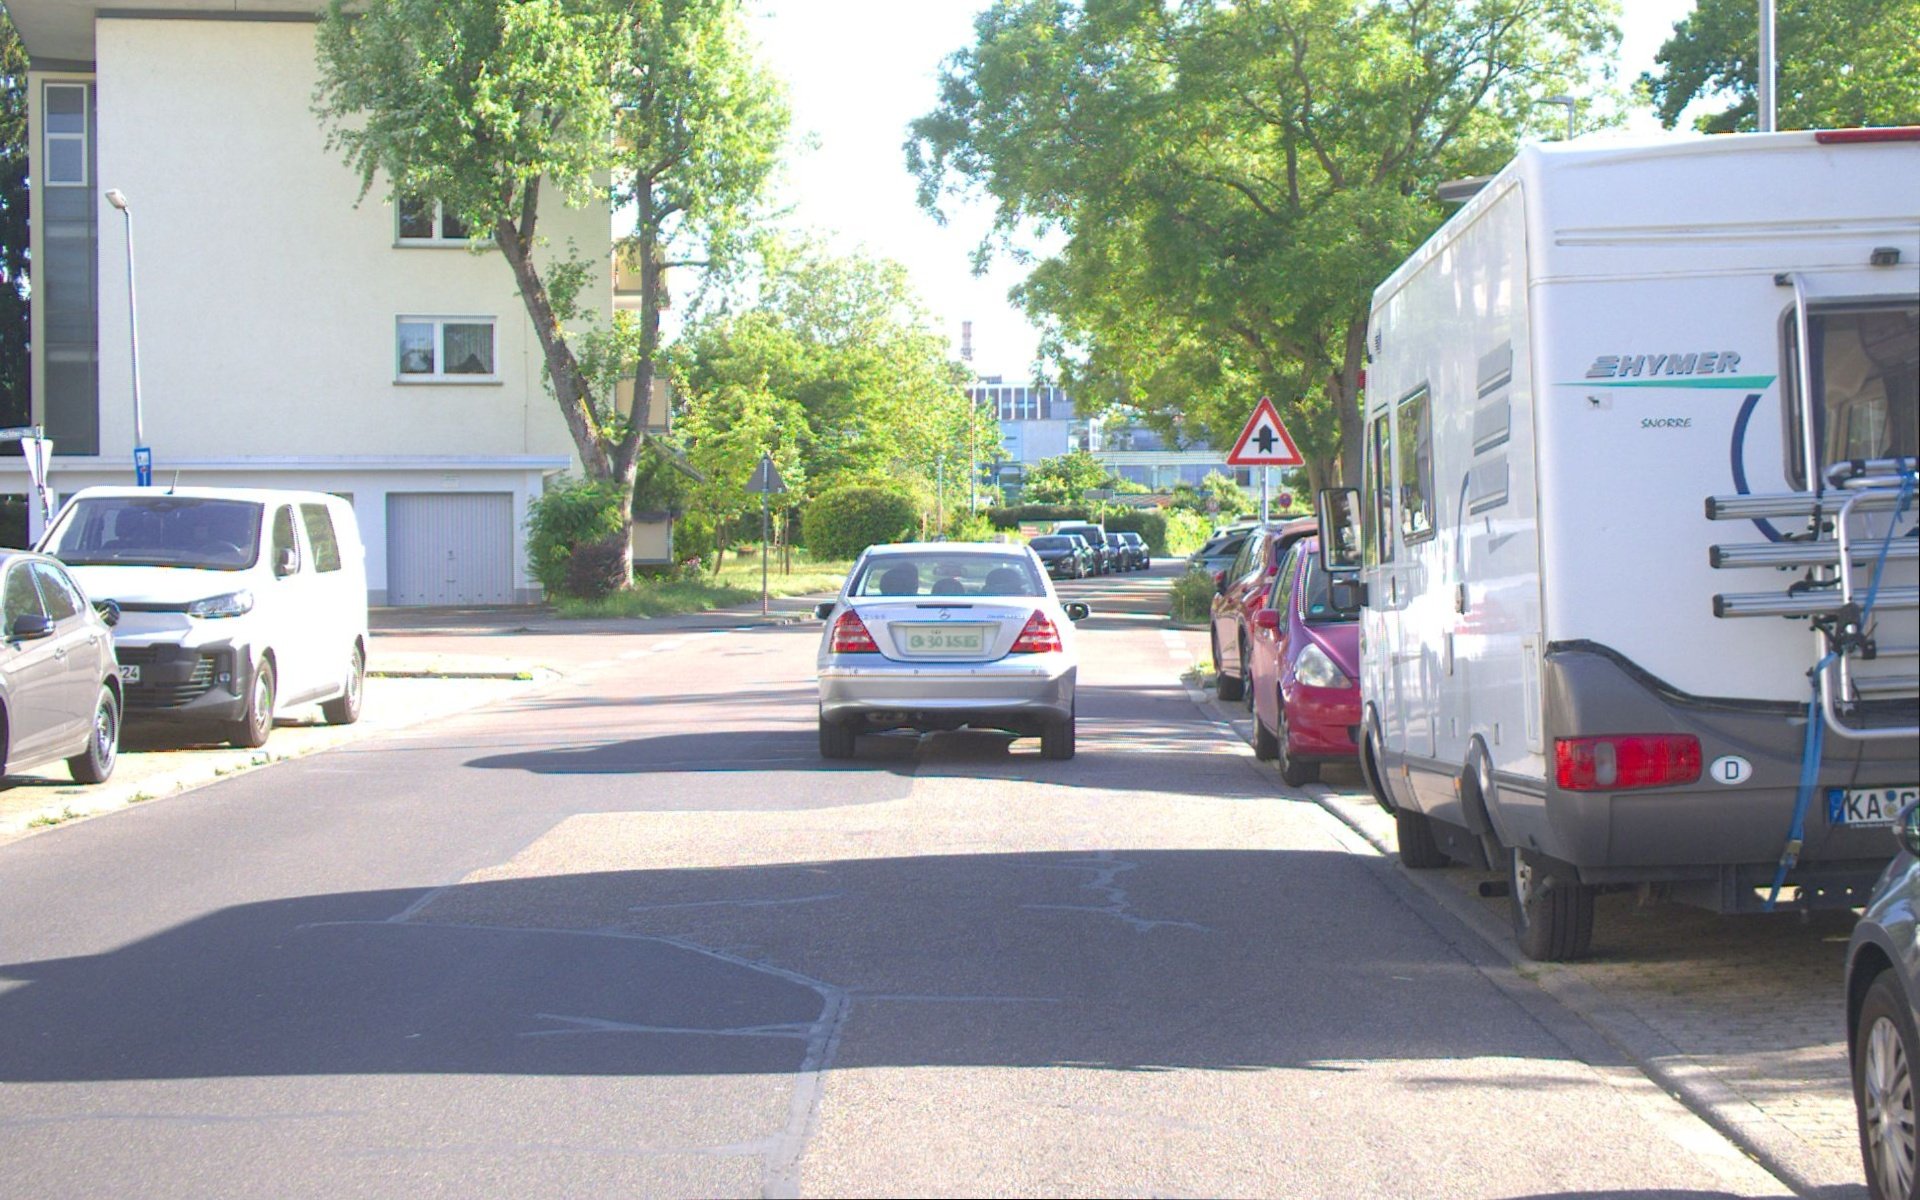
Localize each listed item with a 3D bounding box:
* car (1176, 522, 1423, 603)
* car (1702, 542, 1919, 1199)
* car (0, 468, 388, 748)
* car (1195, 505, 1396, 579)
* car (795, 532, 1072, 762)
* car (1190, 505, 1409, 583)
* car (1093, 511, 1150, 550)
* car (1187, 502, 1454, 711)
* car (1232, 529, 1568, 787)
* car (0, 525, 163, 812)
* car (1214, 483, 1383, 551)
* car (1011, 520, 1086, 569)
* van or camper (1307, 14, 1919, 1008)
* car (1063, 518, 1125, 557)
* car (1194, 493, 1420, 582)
[{"bbox_3d":[6.697,-0.749,68.234,4.782,1.543,2.011,0,2,3],"label":"car"},{"bbox_3d":[2.764,0.662,6.206,1.720,1.519,4.429,-3,2,-1],"label":"car"},{"bbox_3d":[-5.852,-0.005,26.107,2.014,1.879,5.191,1,1,1],"label":"car"},{"bbox_3d":[8.361,-1.450,85.679,4.885,1.717,2.000,-1,1,6],"label":"car"},{"bbox_3d":[-0.133,0.270,23.294,1.733,1.429,3.438,0,1,1],"label":"car"},{"bbox_3d":[6.973,-1.158,70.690,4.428,1.566,1.737,0,2,6],"label":"car"},{"bbox_3d":[6.402,-2.762,136.193,1.751,1.515,4.192,-1,1,10],"label":"car"},{"bbox_3d":[3.201,-0.009,31.368,1.775,1.674,4.645,-3,2,-1],"label":"car"},{"bbox_3d":[2.737,0.301,22.169,1.691,1.469,4.000,-1,1,1],"label":"car"},{"bbox_3d":[-6.007,0.328,19.618,1.833,1.513,4.222,1,1,1],"label":"car"},{"bbox_3d":[10.668,-2.622,108.158,5.219,2.052,2.000,-1,1,8],"label":"car"},{"bbox_3d":[2.886,-1.811,111.241,1.914,1.485,3.836,-3,1,8],"label":"car"},{"bbox_3d":[2.983,-0.365,13.294,2.496,2.835,6.852,-1,2,0],"label":"van or camper"},{"bbox_3d":[5.076,-2.369,129.862,1.751,1.325,3.449,-3,1,11],"label":"car"},{"bbox_3d":[7.860,-1.426,78.247,4.884,1.917,2.000,-1,2,-1],"label":"car"}]
